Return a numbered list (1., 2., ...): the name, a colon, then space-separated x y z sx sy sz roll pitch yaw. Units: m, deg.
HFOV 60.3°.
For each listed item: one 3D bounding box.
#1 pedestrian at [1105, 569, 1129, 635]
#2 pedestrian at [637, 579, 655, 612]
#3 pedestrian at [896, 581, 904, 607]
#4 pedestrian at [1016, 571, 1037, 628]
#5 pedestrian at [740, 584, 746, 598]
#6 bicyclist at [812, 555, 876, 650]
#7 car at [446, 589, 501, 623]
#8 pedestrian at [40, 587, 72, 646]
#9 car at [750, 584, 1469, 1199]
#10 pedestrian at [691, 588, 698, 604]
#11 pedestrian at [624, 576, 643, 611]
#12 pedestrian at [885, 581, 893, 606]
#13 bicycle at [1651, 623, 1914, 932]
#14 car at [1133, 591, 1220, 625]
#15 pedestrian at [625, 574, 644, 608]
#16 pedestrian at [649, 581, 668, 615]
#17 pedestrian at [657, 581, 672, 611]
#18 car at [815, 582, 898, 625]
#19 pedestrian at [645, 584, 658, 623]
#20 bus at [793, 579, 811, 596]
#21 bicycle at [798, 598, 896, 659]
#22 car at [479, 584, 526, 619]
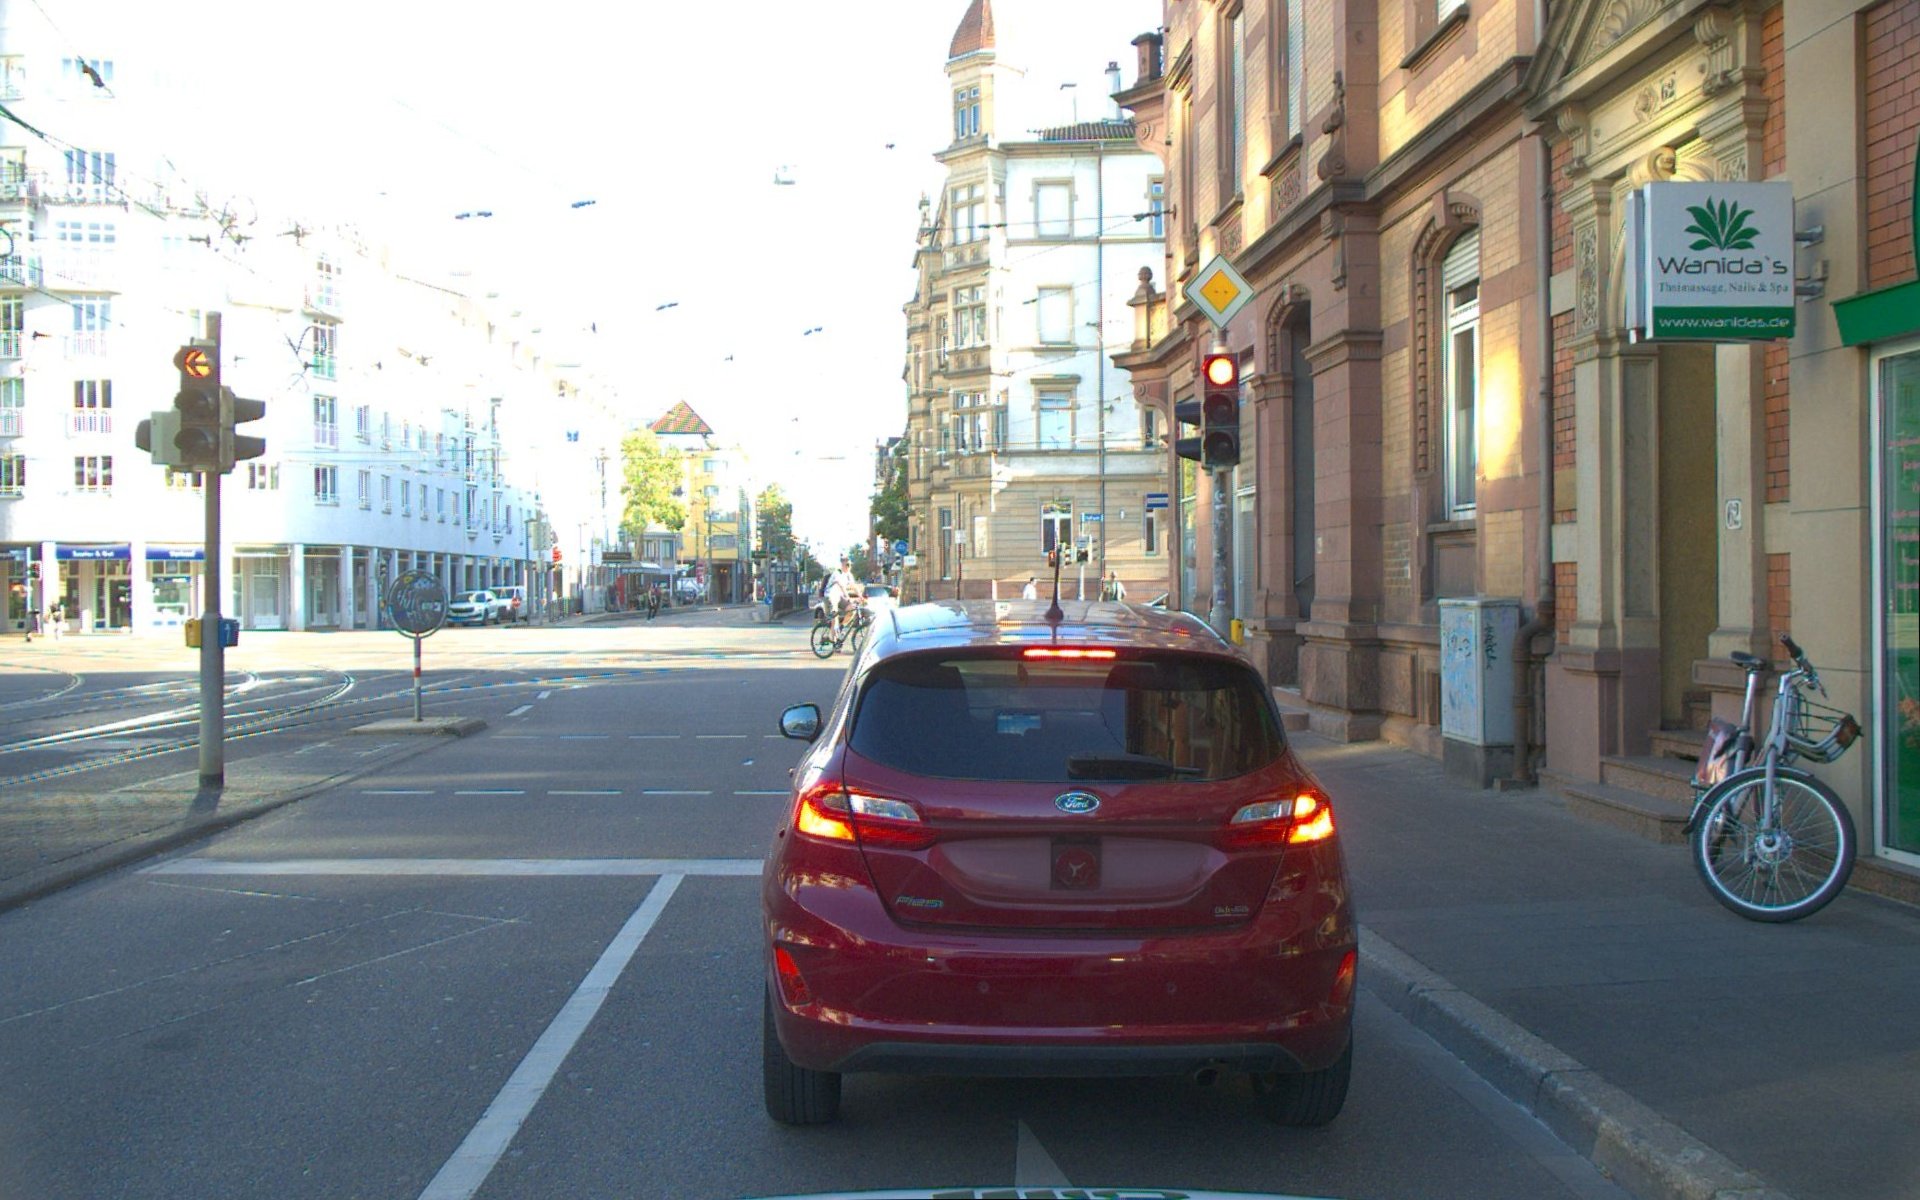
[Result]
1. pedestrian: 4.285 0.062 45.310 0.549 1.786 0.650 -1 0 -1
2. pedestrian: -19.840 -0.279 104.424 1.025 2.049 0.958 -1 0 -6
3. pedestrian: -4.893 -0.502 134.417 0.565 2.049 0.631 -1 0 2
4. pedestrian: 2.437 -0.019 60.693 0.741 2.049 0.654 -1 0 4
5. pedestrian: -25.750 -1.116 196.314 0.619 1.632 0.575 -1 0 -20
6. bicyclist: -2.318 0.048 33.050 0.976 1.853 0.805 -1 0 42
7. car: -23.357 0.294 79.512 1.730 1.573 3.459 -1 0 -3
8. pedestrian: -31.865 0.588 58.307 0.934 2.049 0.930 -1 0 -31
9. car: 0.199 0.710 5.907 1.720 1.492 3.941 1 0 -5
10. pedestrian: -25.452 -0.380 158.725 0.569 1.514 0.525 -1 0 -5
11. pedestrian: -19.799 -0.398 100.381 0.937 2.049 1.048 -1 0 -4
12. pedestrian: -5.831 -0.509 136.475 0.565 2.049 0.631 -1 0 2
13. bicycle: 3.632 0.728 7.448 0.700 1.172 1.656 -2 0 15
14. car: 7.421 0.258 56.914 2.827 1.124 1.254 -1 0 0
15. pedestrian: -20.154 -0.552 102.395 1.025 2.049 0.958 -1 0 -6
16. pedestrian: -18.685 -0.137 102.486 1.025 2.049 0.958 -1 0 -6
17. pedestrian: -19.786 -0.270 110.748 0.937 2.049 1.047 -1 0 -6
18. car: -3.966 0.131 62.936 1.437 1.576 3.863 -1 0 -34
19. pedestrian: -13.552 0.142 72.642 0.513 1.711 0.485 -1 0 -4
20. bus: -20.658 -1.640 216.720 1.887 2.049 7.134 -1 0 -2
21. bicycle: -2.265 0.550 32.966 1.975 1.167 0.805 0 0 42
22. car: -23.962 0.075 86.794 1.667 1.748 3.561 -1 0 -4
